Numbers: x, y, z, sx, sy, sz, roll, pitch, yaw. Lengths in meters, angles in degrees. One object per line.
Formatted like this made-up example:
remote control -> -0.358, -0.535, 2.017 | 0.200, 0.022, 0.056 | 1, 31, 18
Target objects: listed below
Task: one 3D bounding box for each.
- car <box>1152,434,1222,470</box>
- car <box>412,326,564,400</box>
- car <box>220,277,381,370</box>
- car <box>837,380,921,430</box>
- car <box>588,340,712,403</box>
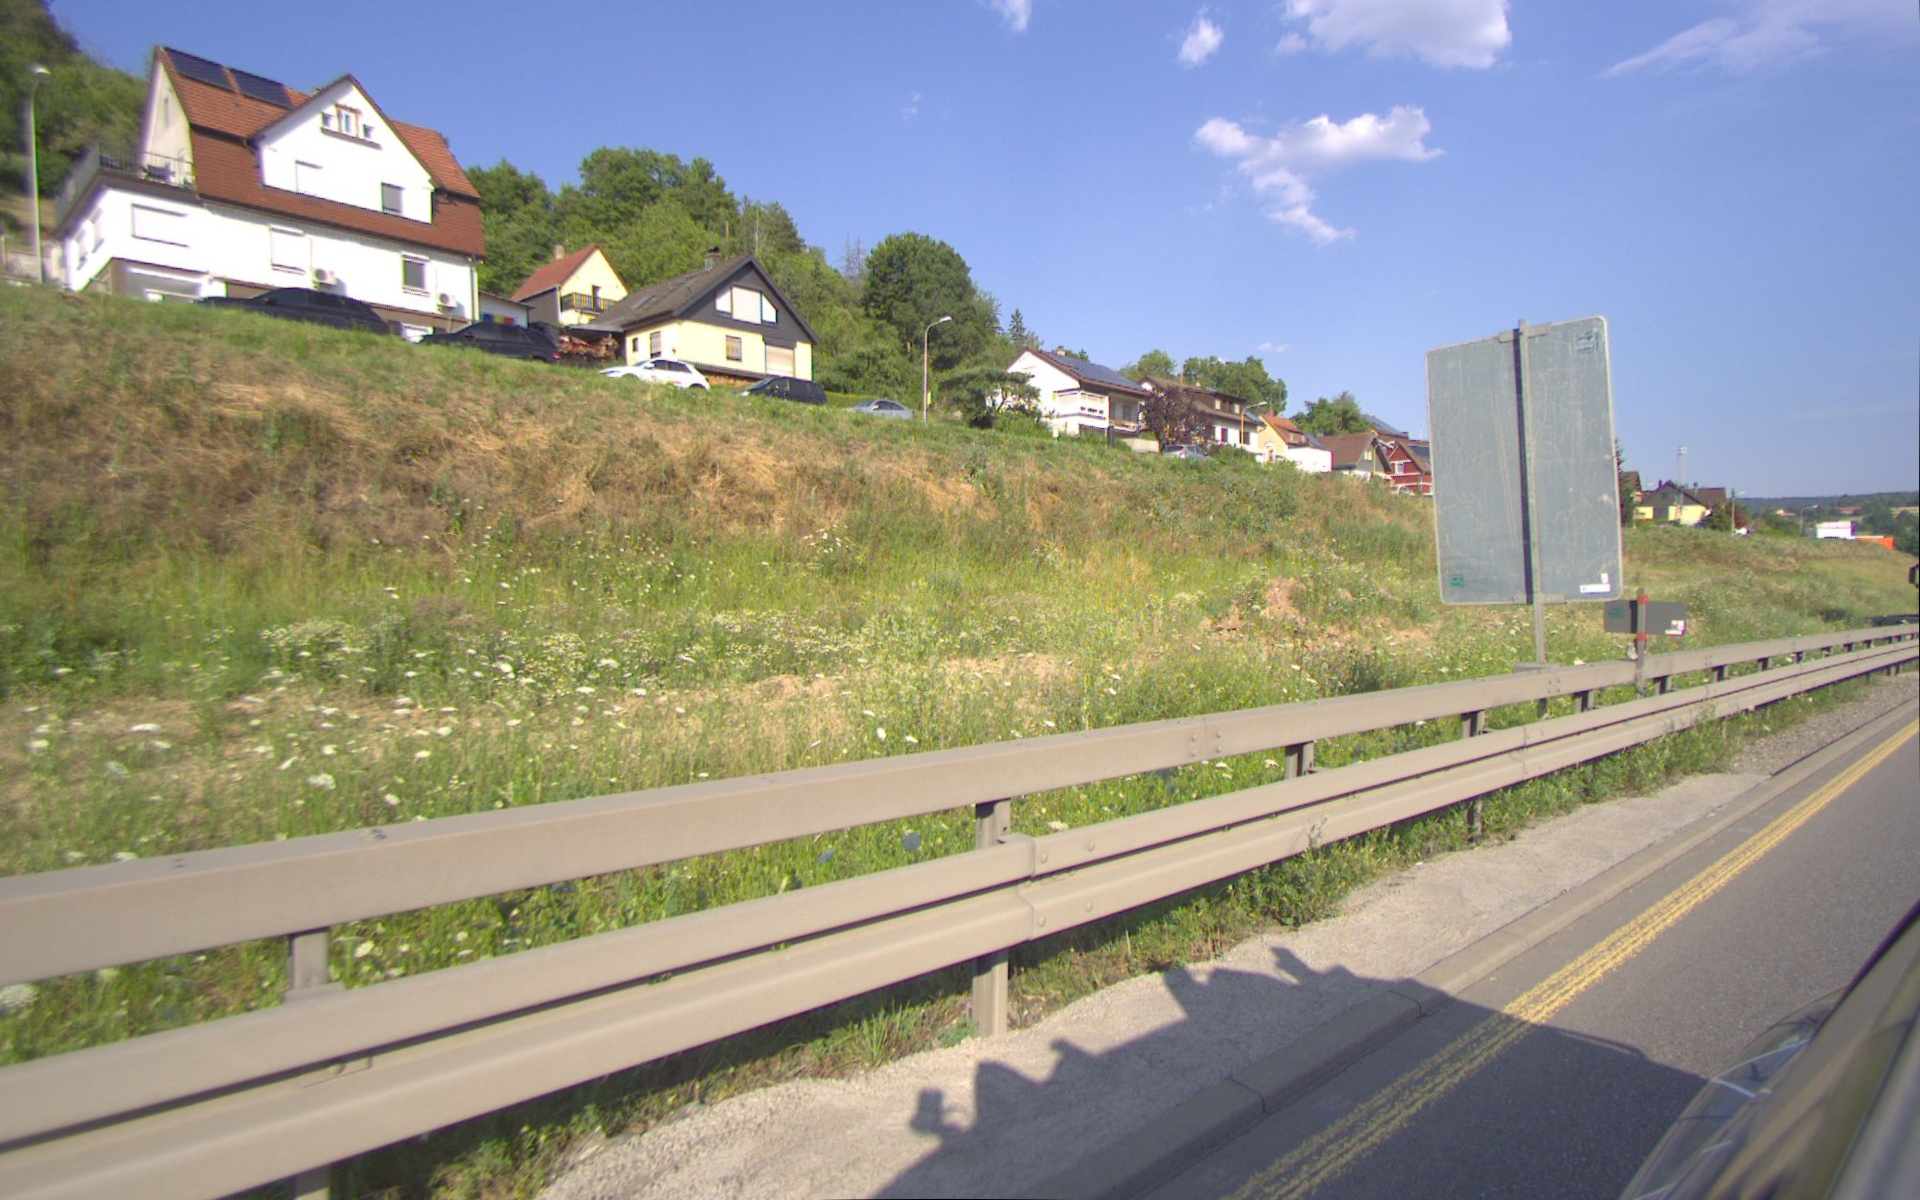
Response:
car -> 12.902, -8.339, 57.339 | 3.932, 1.460, 1.996 | 0, 0, -42
car -> -13.635, -6.808, 29.386 | 1.340, 1.248, 3.848 | 0, 0, 37
car -> -16.619, -6.924, 25.603 | 1.356, 1.476, 3.185 | 0, 0, 41
car -> -3.261, -7.888, 41.182 | 1.443, 1.389, 3.508 | 0, 0, 39
car -> -10.206, -7.513, 33.566 | 1.342, 1.248, 3.844 | 0, 0, 40
